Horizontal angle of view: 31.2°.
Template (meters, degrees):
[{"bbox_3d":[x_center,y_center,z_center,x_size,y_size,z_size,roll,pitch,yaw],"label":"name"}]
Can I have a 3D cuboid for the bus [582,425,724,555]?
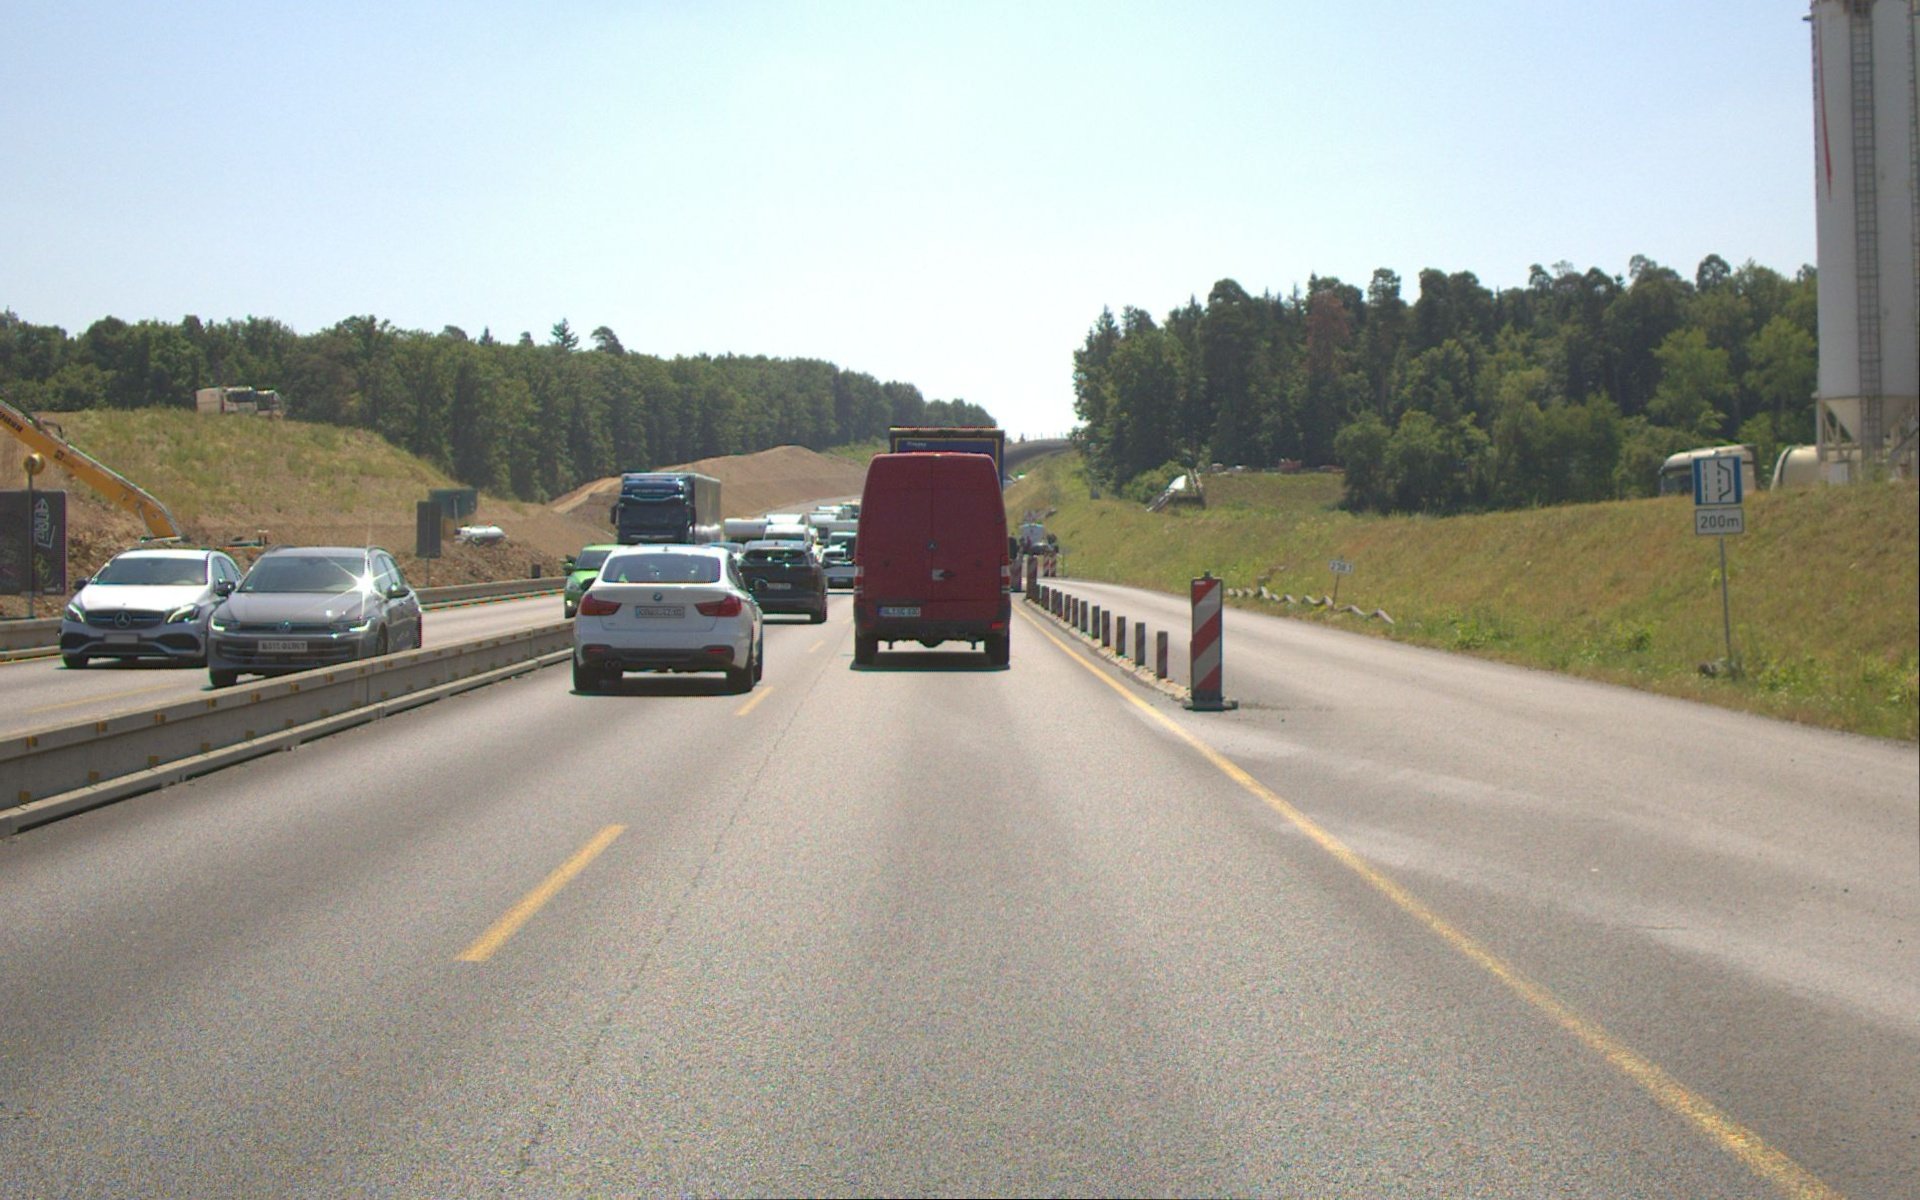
[{"bbox_3d":[-11.120,-3.942,126.609,3.942,4.400,17.202,-1,1,-1],"label":"bus"}]

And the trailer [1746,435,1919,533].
[{"bbox_3d":[31.338,-3.900,115.699,8.993,3.218,3.332,-1,1,-14],"label":"trailer"}]

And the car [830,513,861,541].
[{"bbox_3d":[-7.681,-4.897,230.792,1.993,1.897,4.000,-1,1,0],"label":"car"}]

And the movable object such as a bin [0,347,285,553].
[{"bbox_3d":[-33.948,-5.285,123.287,18.710,7.206,3.616,-1,1,-2],"label":"movable object such as a bin"}]

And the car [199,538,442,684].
[{"bbox_3d":[-6.855,0.071,37.271,1.786,1.471,4.524,1,1,0],"label":"car"}]

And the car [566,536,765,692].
[{"bbox_3d":[-3.067,0.093,36.686,1.795,1.529,5.074,0,1,-1],"label":"car"}]

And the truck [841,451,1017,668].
[{"bbox_3d":[-0.330,-0.558,45.144,2.111,2.624,6.484,0,1,1],"label":"truck"}]

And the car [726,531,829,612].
[{"bbox_3d":[-3.534,-0.577,67.046,1.795,1.529,3.931,-1,1,0],"label":"car"}]

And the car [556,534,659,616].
[{"bbox_3d":[-6.962,-0.521,68.199,1.602,1.574,4.168,-1,1,0],"label":"car"}]

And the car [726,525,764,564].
[{"bbox_3d":[-11.083,-2.872,177.315,1.763,2.007,3.827,-1,1,0],"label":"car"}]

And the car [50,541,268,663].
[{"bbox_3d":[-9.968,-0.011,43.063,1.691,1.429,4.449,1,1,0],"label":"car"}]

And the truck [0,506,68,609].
[{"bbox_3d":[-25.417,-1.107,89.275,2.316,2.608,8.411,-1,1,0],"label":"truck"}]

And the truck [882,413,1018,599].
[{"bbox_3d":[-0.189,-2.183,81.026,3.015,4.138,8.272,0,1,1],"label":"truck"}]

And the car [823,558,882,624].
[{"bbox_3d":[-3.370,-0.295,108.668,1.763,2.007,3.827,-1,1,0],"label":"car"}]

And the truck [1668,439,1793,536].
[{"bbox_3d":[25.636,-3.710,114.228,2.899,3.102,6.004,0,1,24],"label":"truck"}]
